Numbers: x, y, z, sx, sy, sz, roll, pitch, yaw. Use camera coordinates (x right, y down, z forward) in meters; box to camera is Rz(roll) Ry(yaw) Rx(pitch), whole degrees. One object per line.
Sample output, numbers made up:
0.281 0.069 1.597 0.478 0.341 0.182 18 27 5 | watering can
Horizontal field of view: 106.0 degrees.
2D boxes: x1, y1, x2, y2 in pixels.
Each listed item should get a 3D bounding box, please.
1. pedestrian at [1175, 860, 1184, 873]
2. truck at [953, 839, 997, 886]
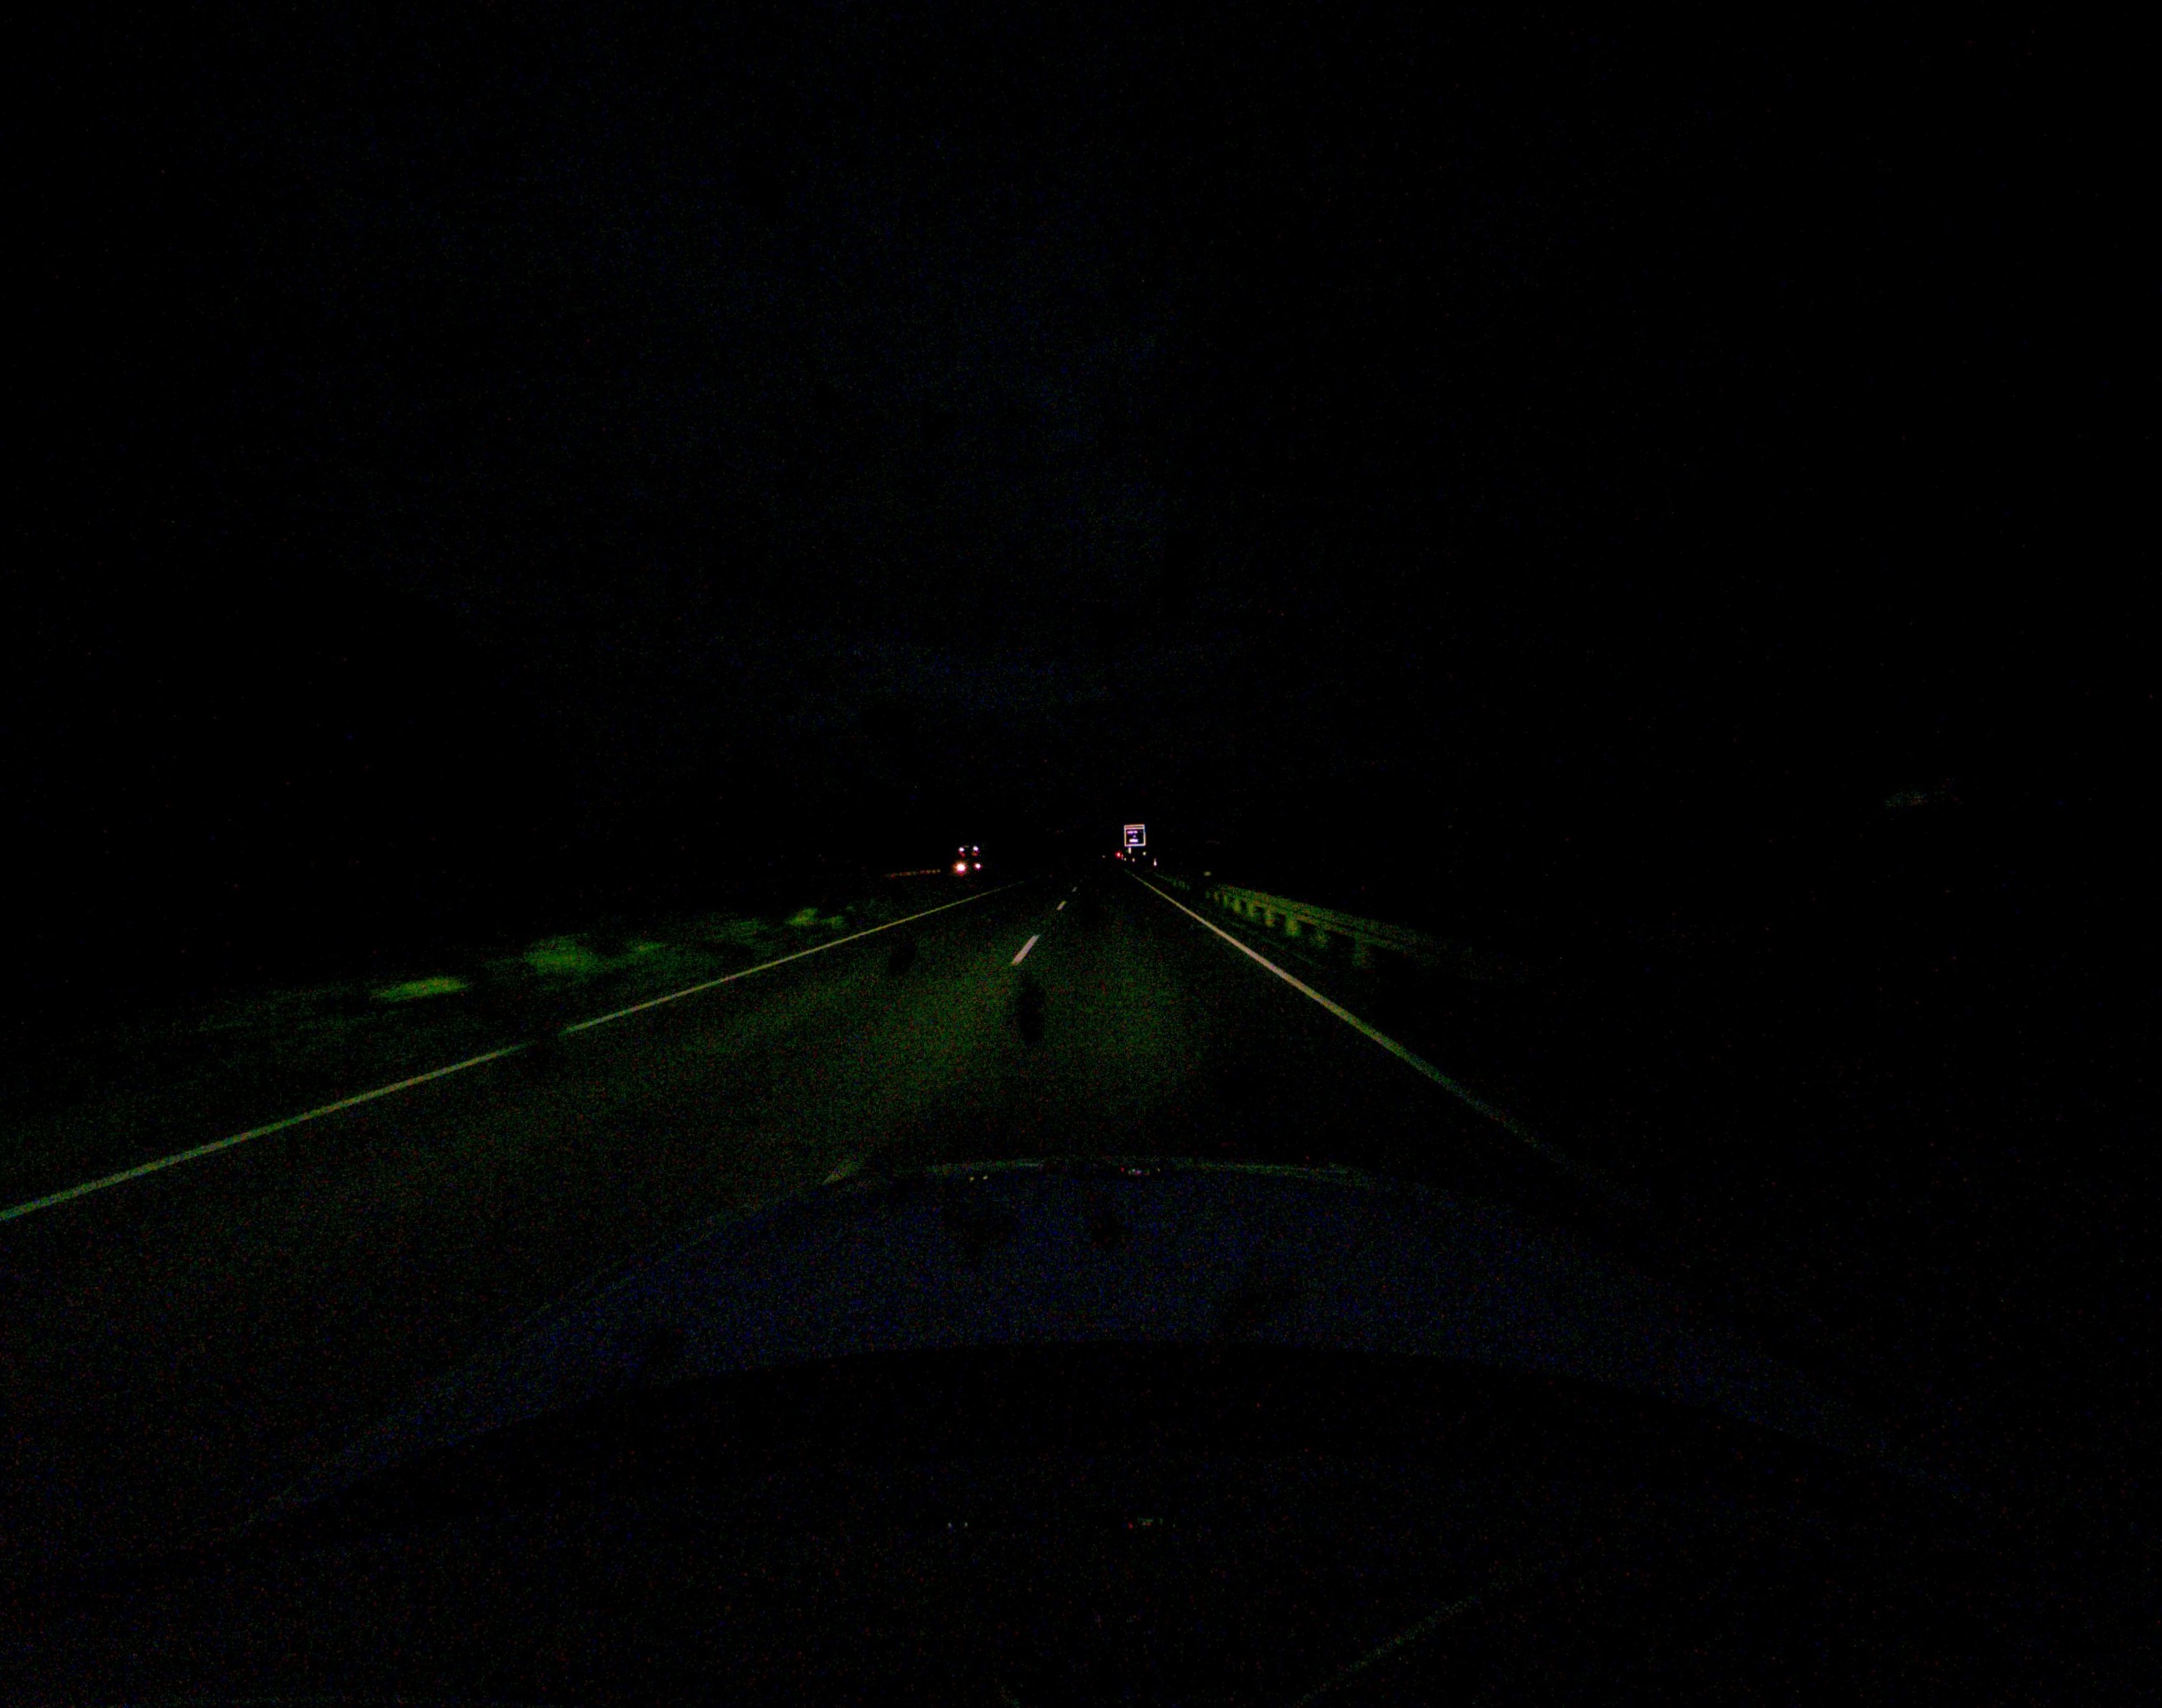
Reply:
12.495 1.535 103.468 1.058 1.643 1.119 -1 -1 1 | pedestrian
-12.967 0.962 100.924 3.191 5.255 12.612 -3 0 1 | truck
